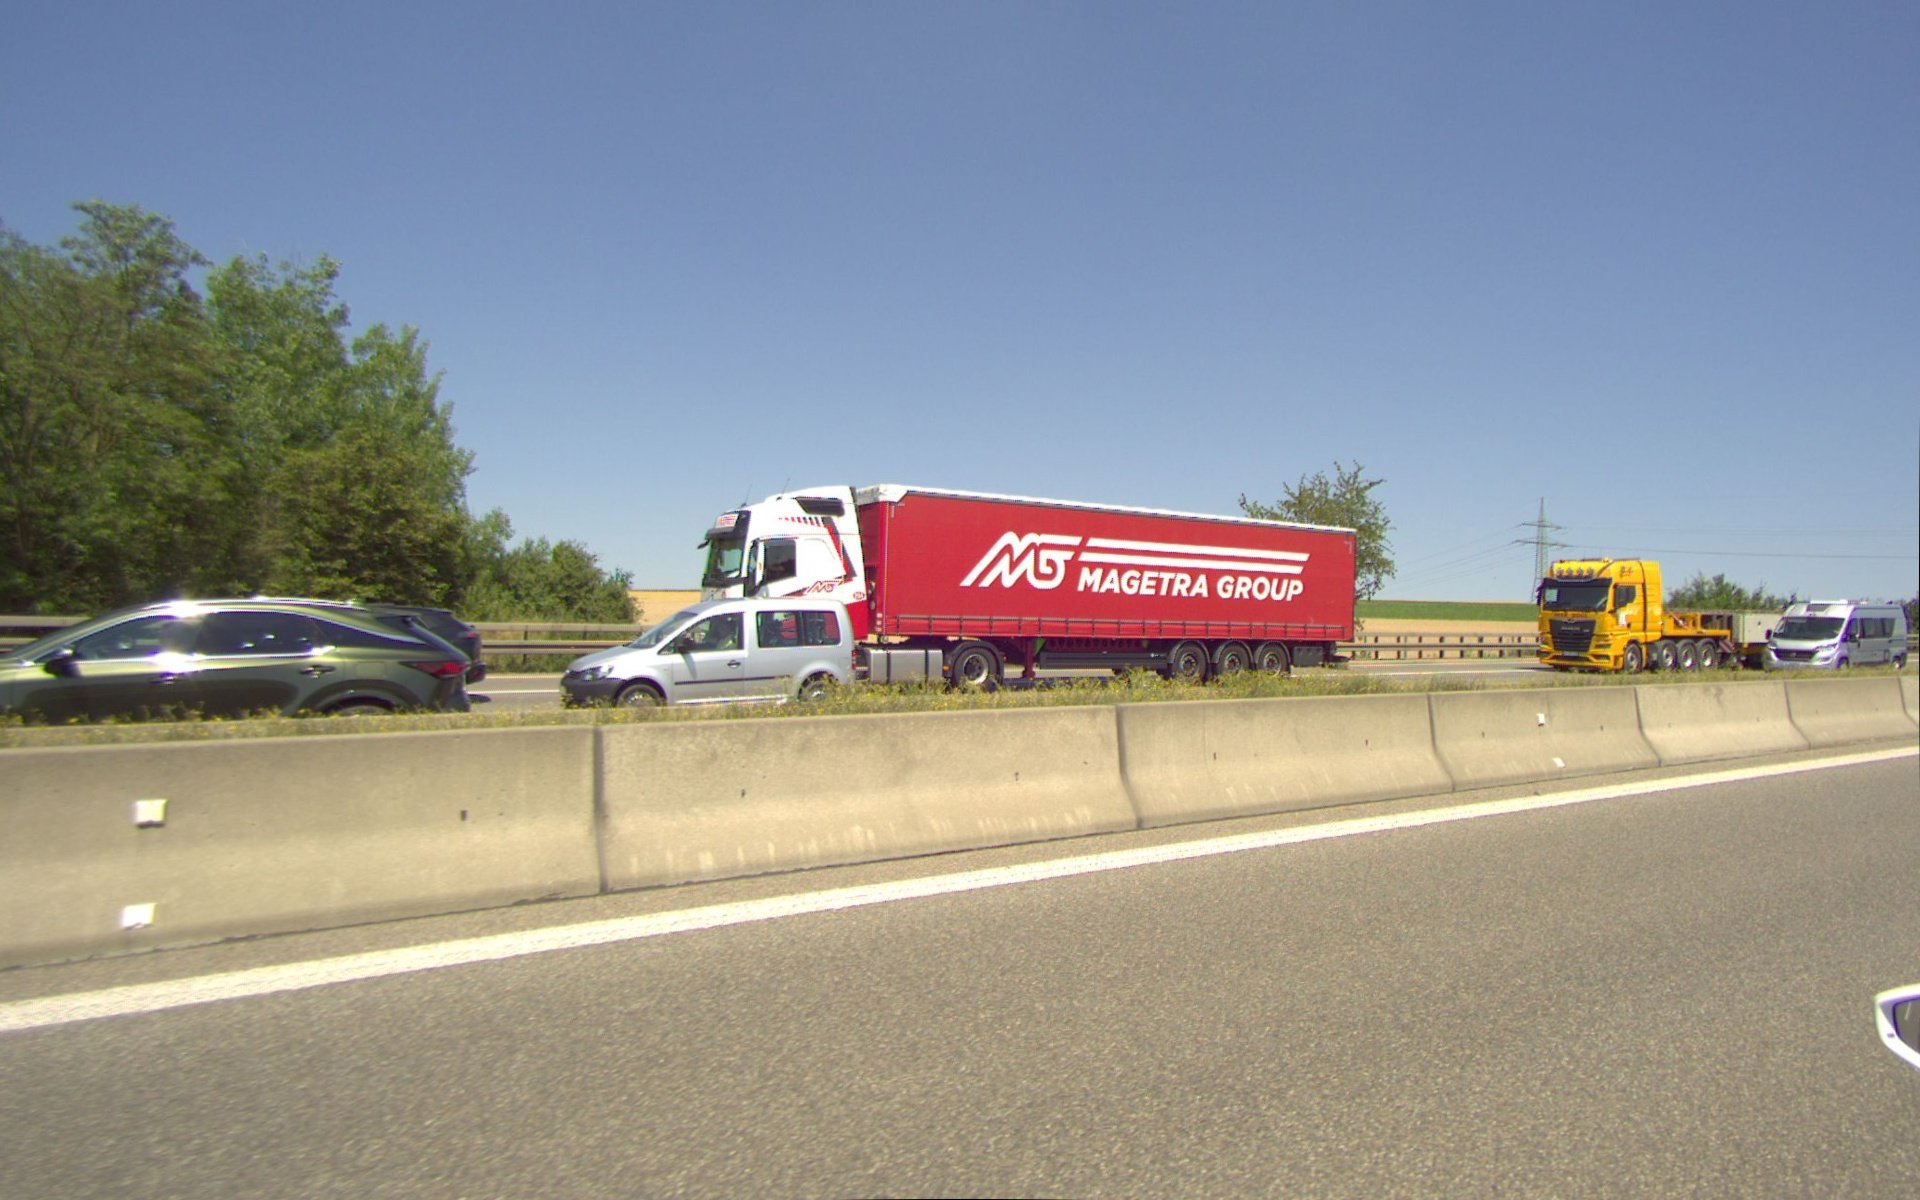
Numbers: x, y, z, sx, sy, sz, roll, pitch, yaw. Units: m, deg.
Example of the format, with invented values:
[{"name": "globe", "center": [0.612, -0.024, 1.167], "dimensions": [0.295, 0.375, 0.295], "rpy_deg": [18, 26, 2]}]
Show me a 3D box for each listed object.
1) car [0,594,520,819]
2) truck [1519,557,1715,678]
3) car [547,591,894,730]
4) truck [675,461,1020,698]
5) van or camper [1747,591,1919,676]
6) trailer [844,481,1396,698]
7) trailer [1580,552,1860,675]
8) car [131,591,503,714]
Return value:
[{"name": "car", "center": [-6.985, 0.845, 9.185], "dimensions": [5.196, 1.718, 2.038], "rpy_deg": [2, 0, -32]}, {"name": "truck", "center": [23.159, 0.613, 35.321], "dimensions": [7.009, 3.888, 2.740], "rpy_deg": [1, 0, -28]}, {"name": "car", "center": [-3.525, 0.842, 15.096], "dimensions": [4.709, 1.795, 1.903], "rpy_deg": [2, 0, -32]}, {"name": "truck", "center": [-2.231, -0.291, 20.372], "dimensions": [6.240, 4.136, 3.021], "rpy_deg": [1, 0, -30]}, {"name": "van or camper", "center": [29.465, 1.127, 33.736], "dimensions": [7.058, 2.621, 2.300], "rpy_deg": [2, 0, -30]}, {"name": "trailer", "center": [4.425, -0.041, 24.096], "dimensions": [14.207, 4.155, 3.072], "rpy_deg": [1, 0, -29]}, {"name": "trailer", "center": [29.514, 0.568, 38.608], "dimensions": [14.201, 4.155, 2.941], "rpy_deg": [1, 0, -28]}, {"name": "car", "center": [-9.762, 0.841, 15.657], "dimensions": [4.554, 1.652, 1.828], "rpy_deg": [4, -2, -32]}]
